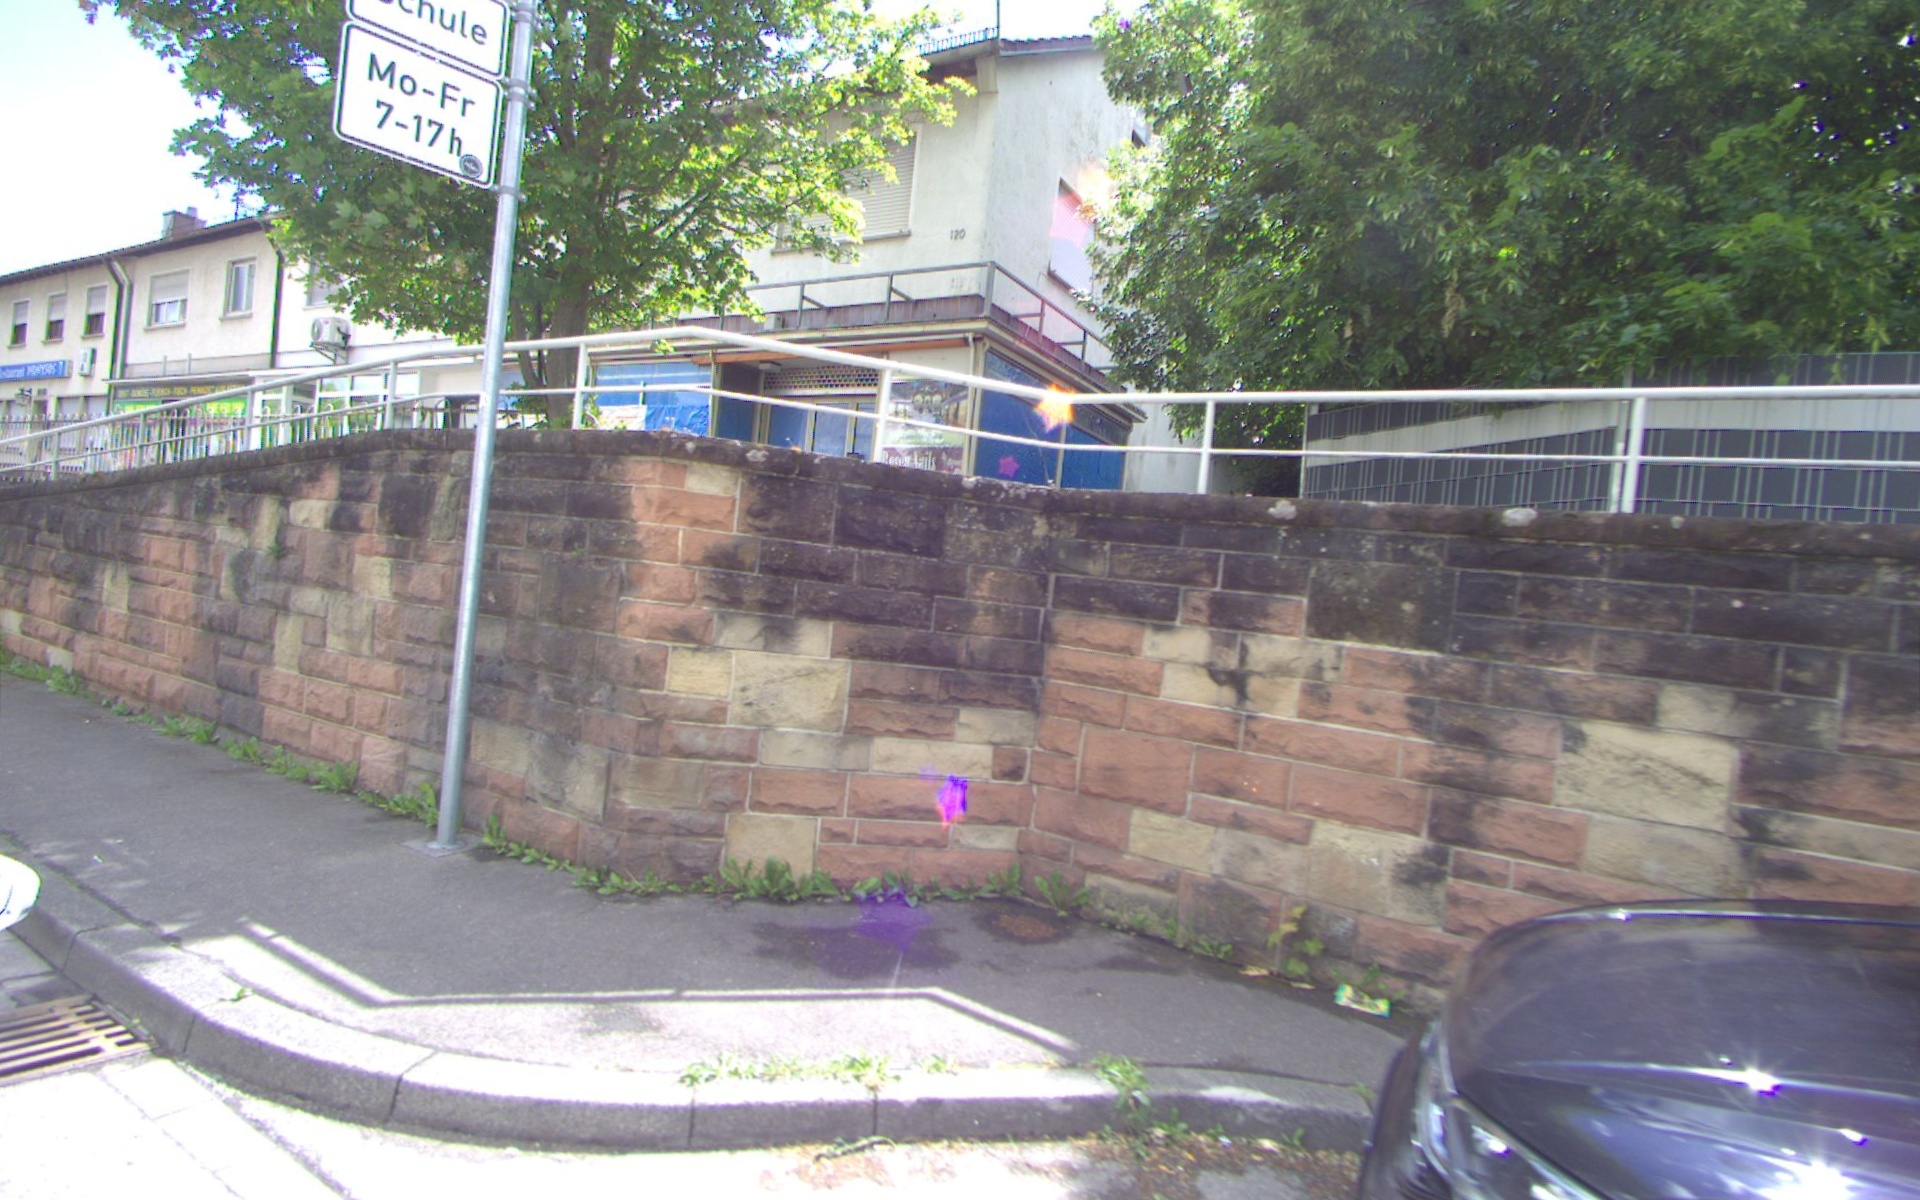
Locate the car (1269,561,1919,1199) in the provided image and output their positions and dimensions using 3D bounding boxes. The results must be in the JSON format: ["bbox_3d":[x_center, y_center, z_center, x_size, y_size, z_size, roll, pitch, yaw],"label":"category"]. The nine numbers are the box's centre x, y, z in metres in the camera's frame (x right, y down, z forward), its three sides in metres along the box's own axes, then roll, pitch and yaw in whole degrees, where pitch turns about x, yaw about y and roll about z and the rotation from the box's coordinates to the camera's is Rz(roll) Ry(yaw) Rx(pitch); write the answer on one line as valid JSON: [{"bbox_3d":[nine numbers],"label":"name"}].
[{"bbox_3d":[2.548,0.972,1.117,3.954,1.600,1.757,6,1,30],"label":"car"}]
